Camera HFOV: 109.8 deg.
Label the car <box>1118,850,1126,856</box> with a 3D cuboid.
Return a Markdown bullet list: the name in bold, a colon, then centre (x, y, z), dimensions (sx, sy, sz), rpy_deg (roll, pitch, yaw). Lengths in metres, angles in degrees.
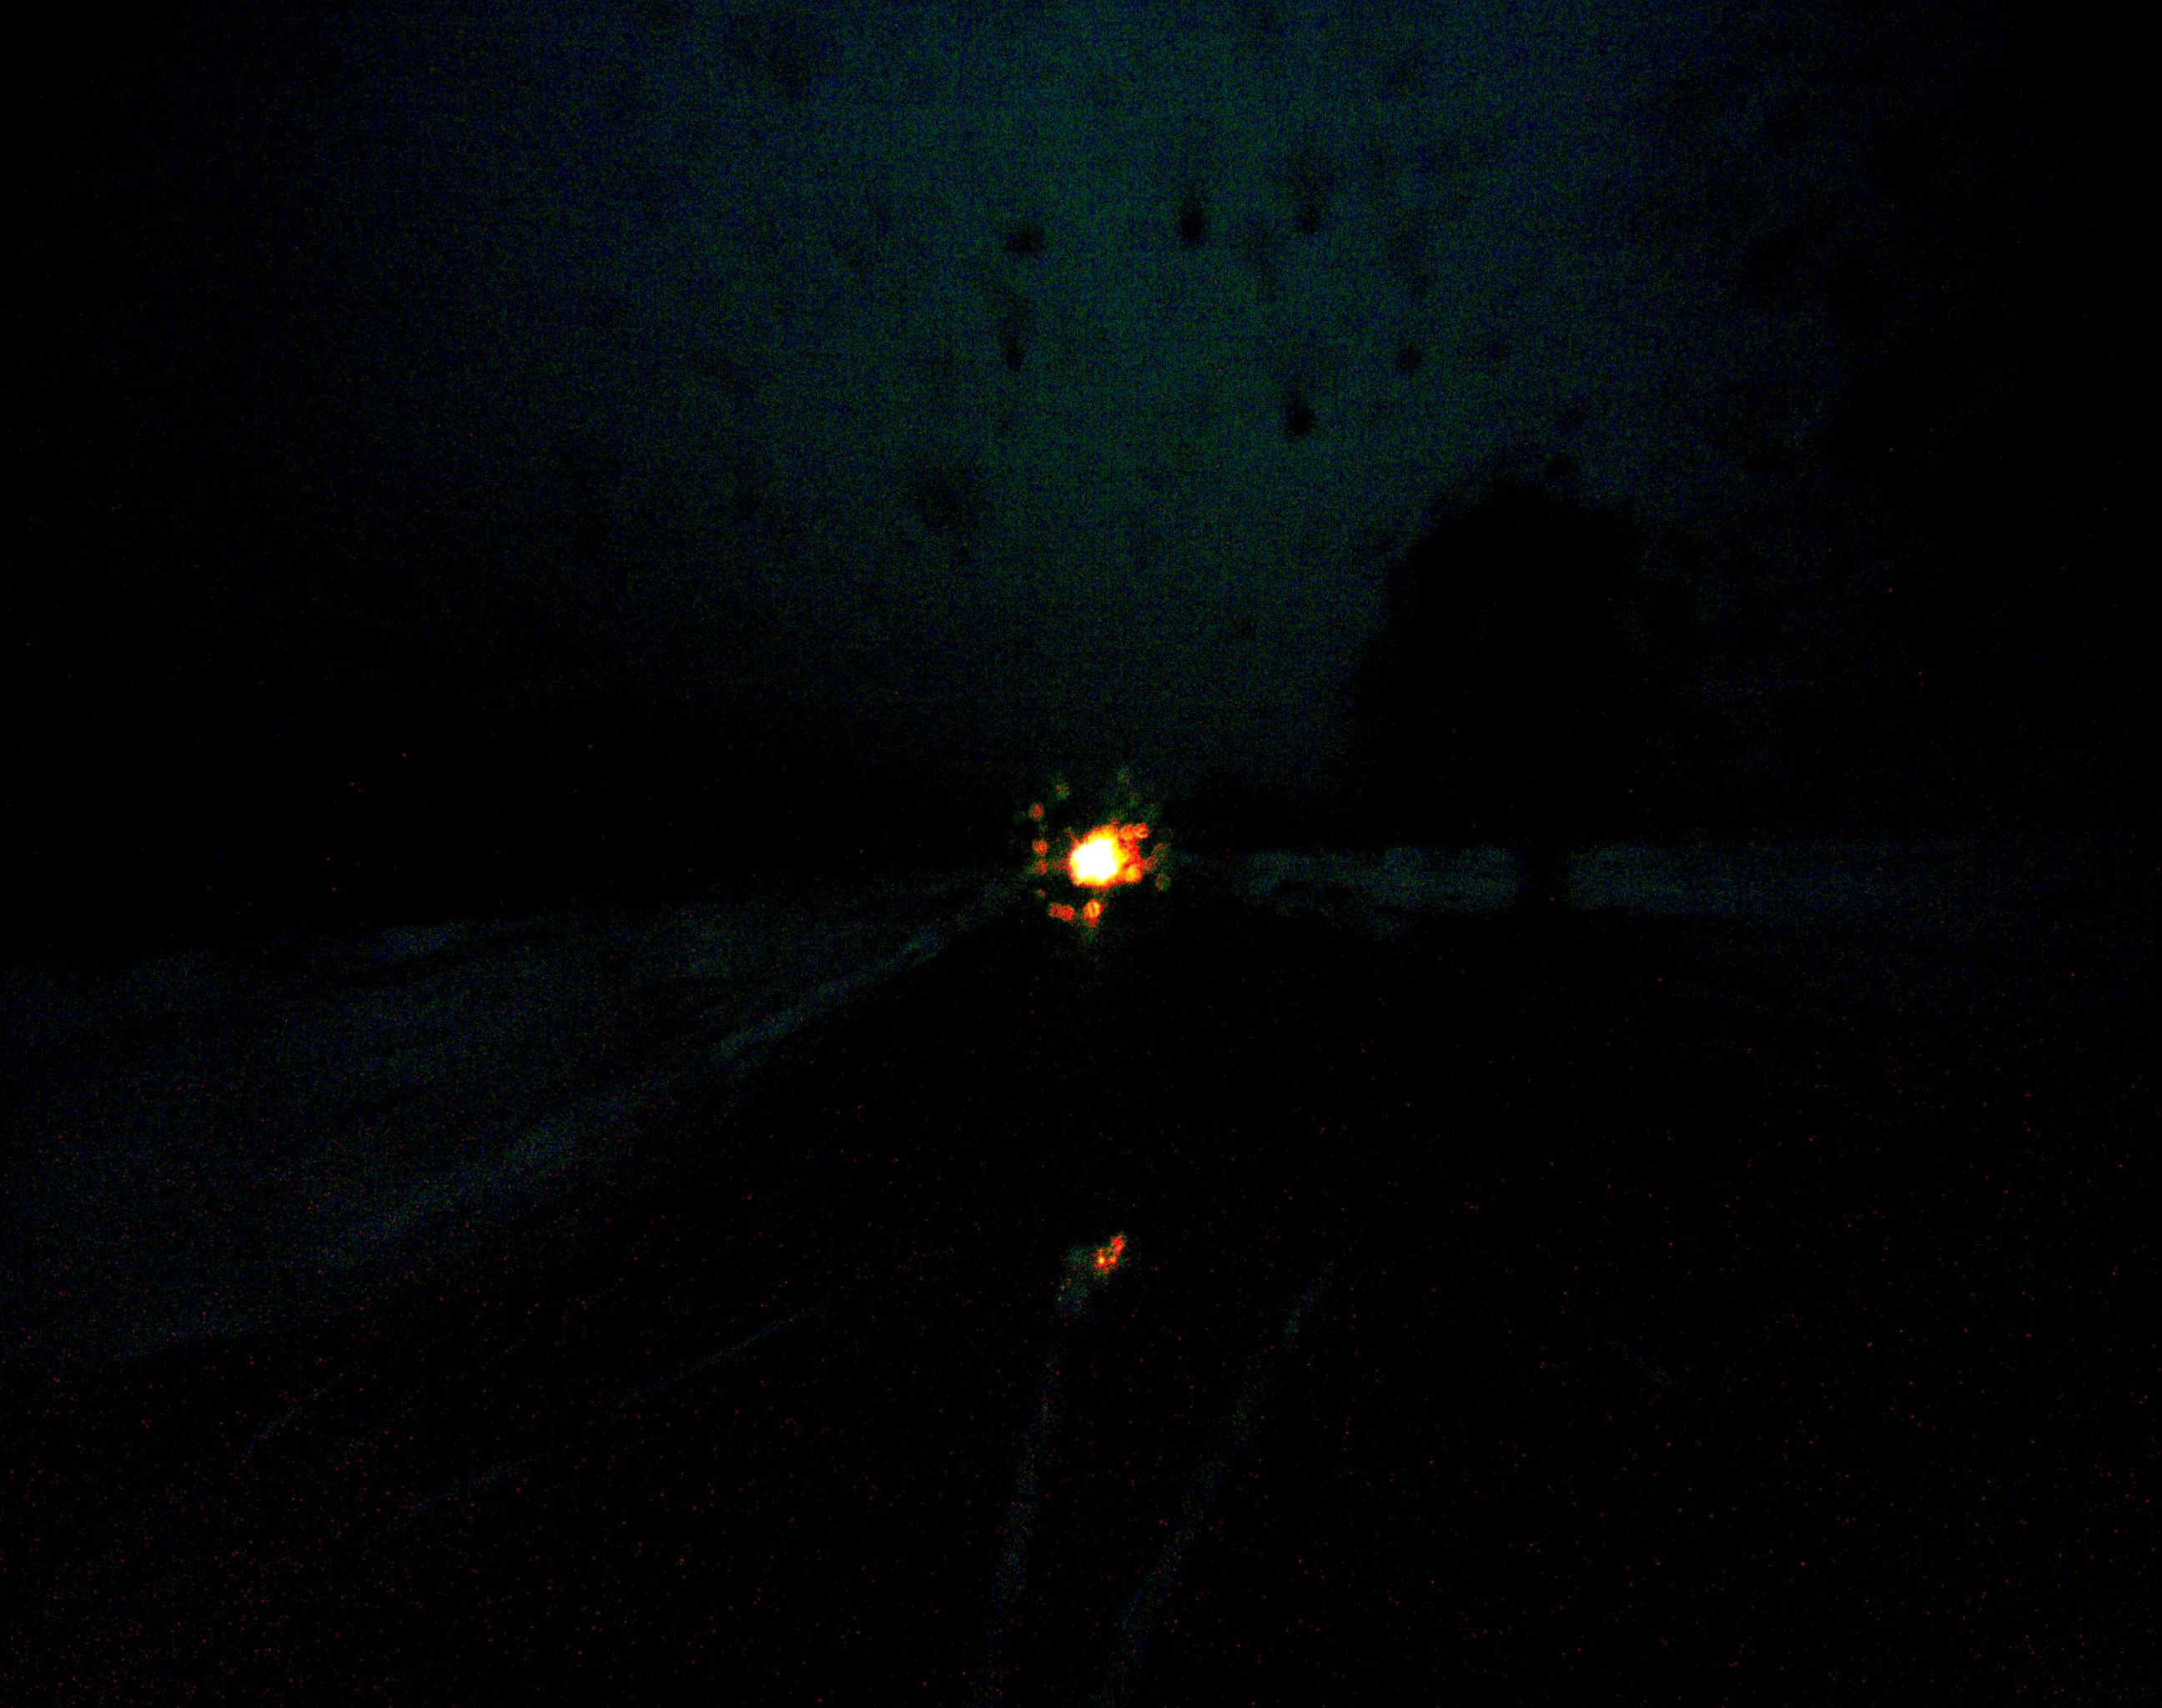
- **car**: centre (9.756, -0.270, 180.558), dimensions (1.732, 1.338, 4.222), rpy_deg (1, 1, 2)
